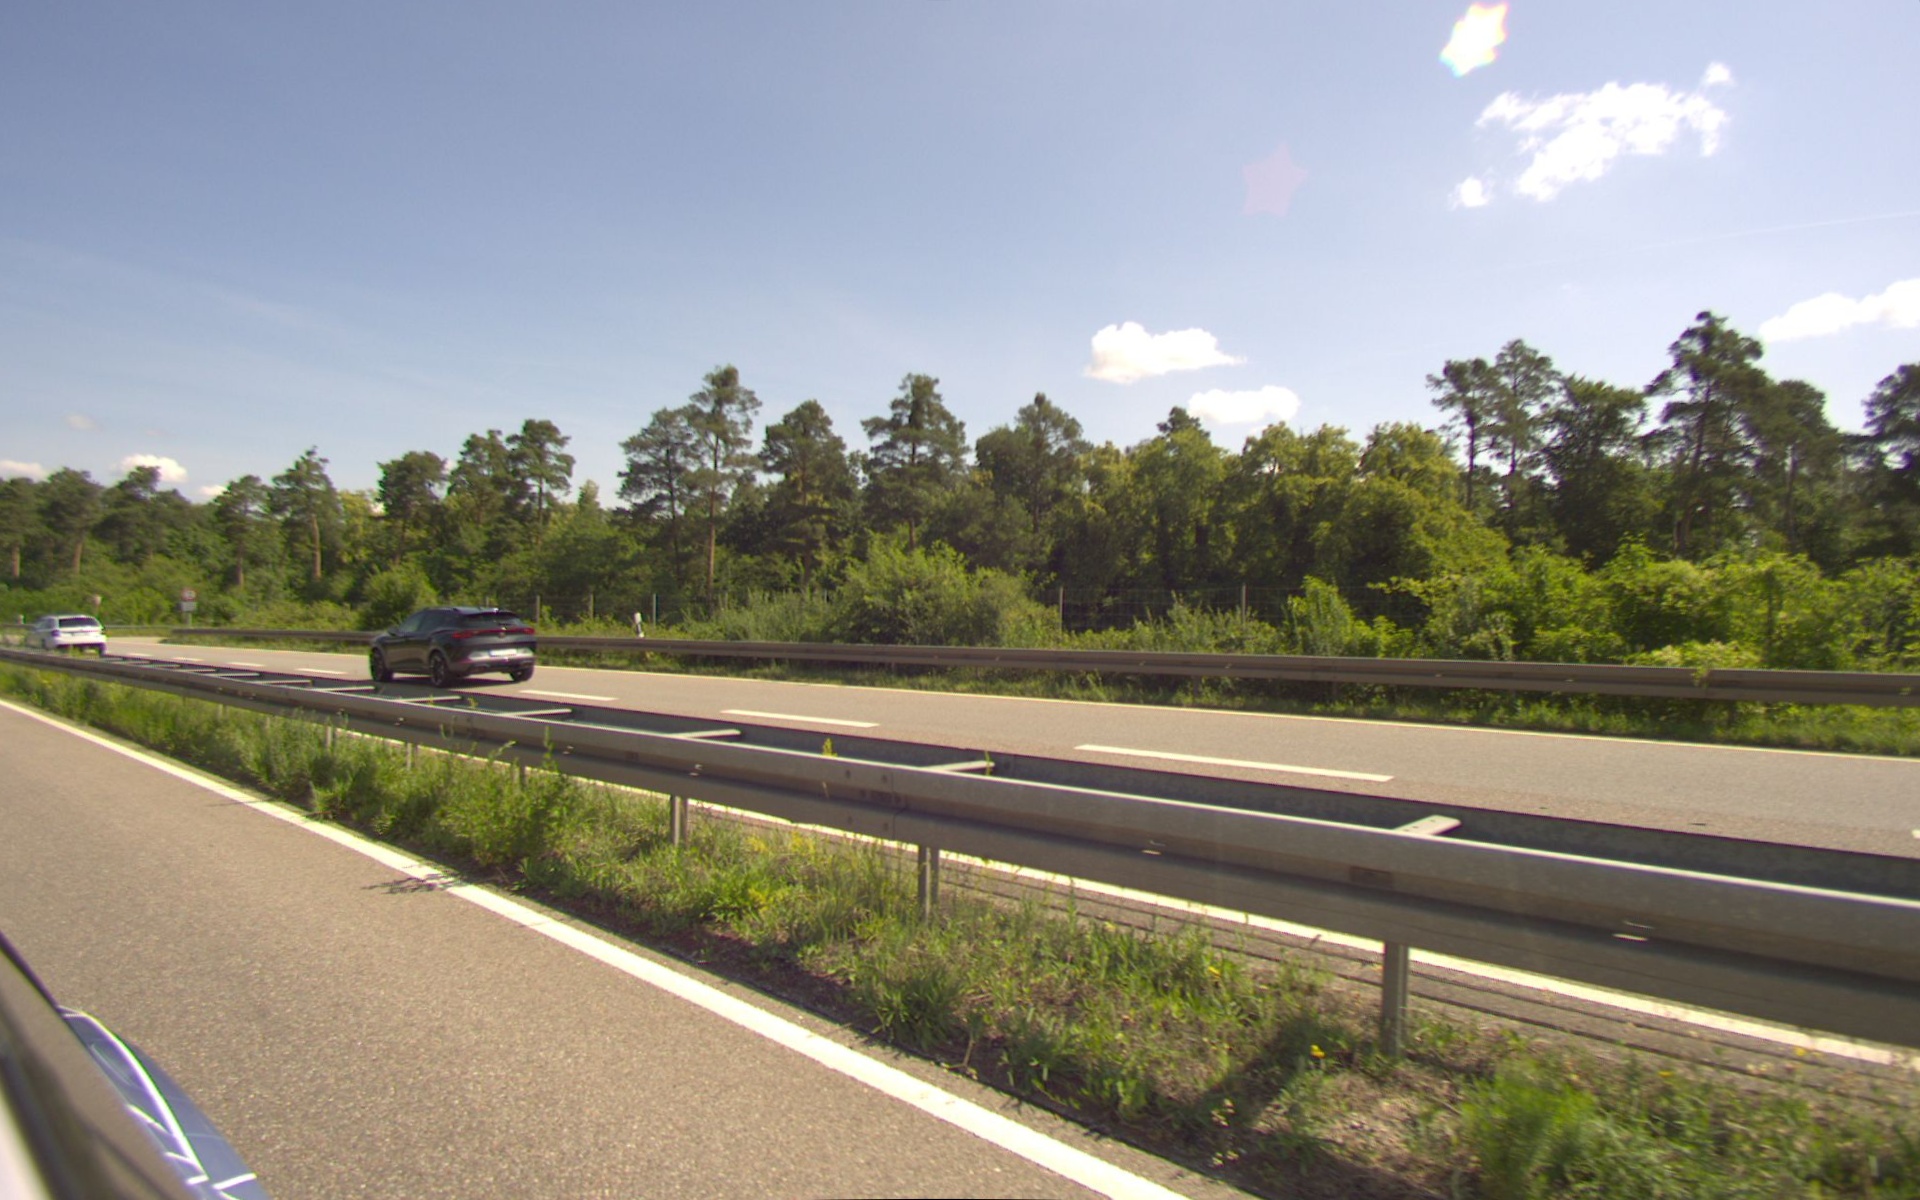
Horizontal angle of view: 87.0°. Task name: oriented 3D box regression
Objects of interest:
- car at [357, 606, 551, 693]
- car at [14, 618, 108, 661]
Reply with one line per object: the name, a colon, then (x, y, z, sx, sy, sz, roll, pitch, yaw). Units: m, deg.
car: (-10.193, 0.922, 20.231, 4.569, 1.512, 1.738, -1, 0, 39)
car: (-33.603, 1.449, 37.779, 4.599, 1.455, 1.777, -1, 0, 37)
